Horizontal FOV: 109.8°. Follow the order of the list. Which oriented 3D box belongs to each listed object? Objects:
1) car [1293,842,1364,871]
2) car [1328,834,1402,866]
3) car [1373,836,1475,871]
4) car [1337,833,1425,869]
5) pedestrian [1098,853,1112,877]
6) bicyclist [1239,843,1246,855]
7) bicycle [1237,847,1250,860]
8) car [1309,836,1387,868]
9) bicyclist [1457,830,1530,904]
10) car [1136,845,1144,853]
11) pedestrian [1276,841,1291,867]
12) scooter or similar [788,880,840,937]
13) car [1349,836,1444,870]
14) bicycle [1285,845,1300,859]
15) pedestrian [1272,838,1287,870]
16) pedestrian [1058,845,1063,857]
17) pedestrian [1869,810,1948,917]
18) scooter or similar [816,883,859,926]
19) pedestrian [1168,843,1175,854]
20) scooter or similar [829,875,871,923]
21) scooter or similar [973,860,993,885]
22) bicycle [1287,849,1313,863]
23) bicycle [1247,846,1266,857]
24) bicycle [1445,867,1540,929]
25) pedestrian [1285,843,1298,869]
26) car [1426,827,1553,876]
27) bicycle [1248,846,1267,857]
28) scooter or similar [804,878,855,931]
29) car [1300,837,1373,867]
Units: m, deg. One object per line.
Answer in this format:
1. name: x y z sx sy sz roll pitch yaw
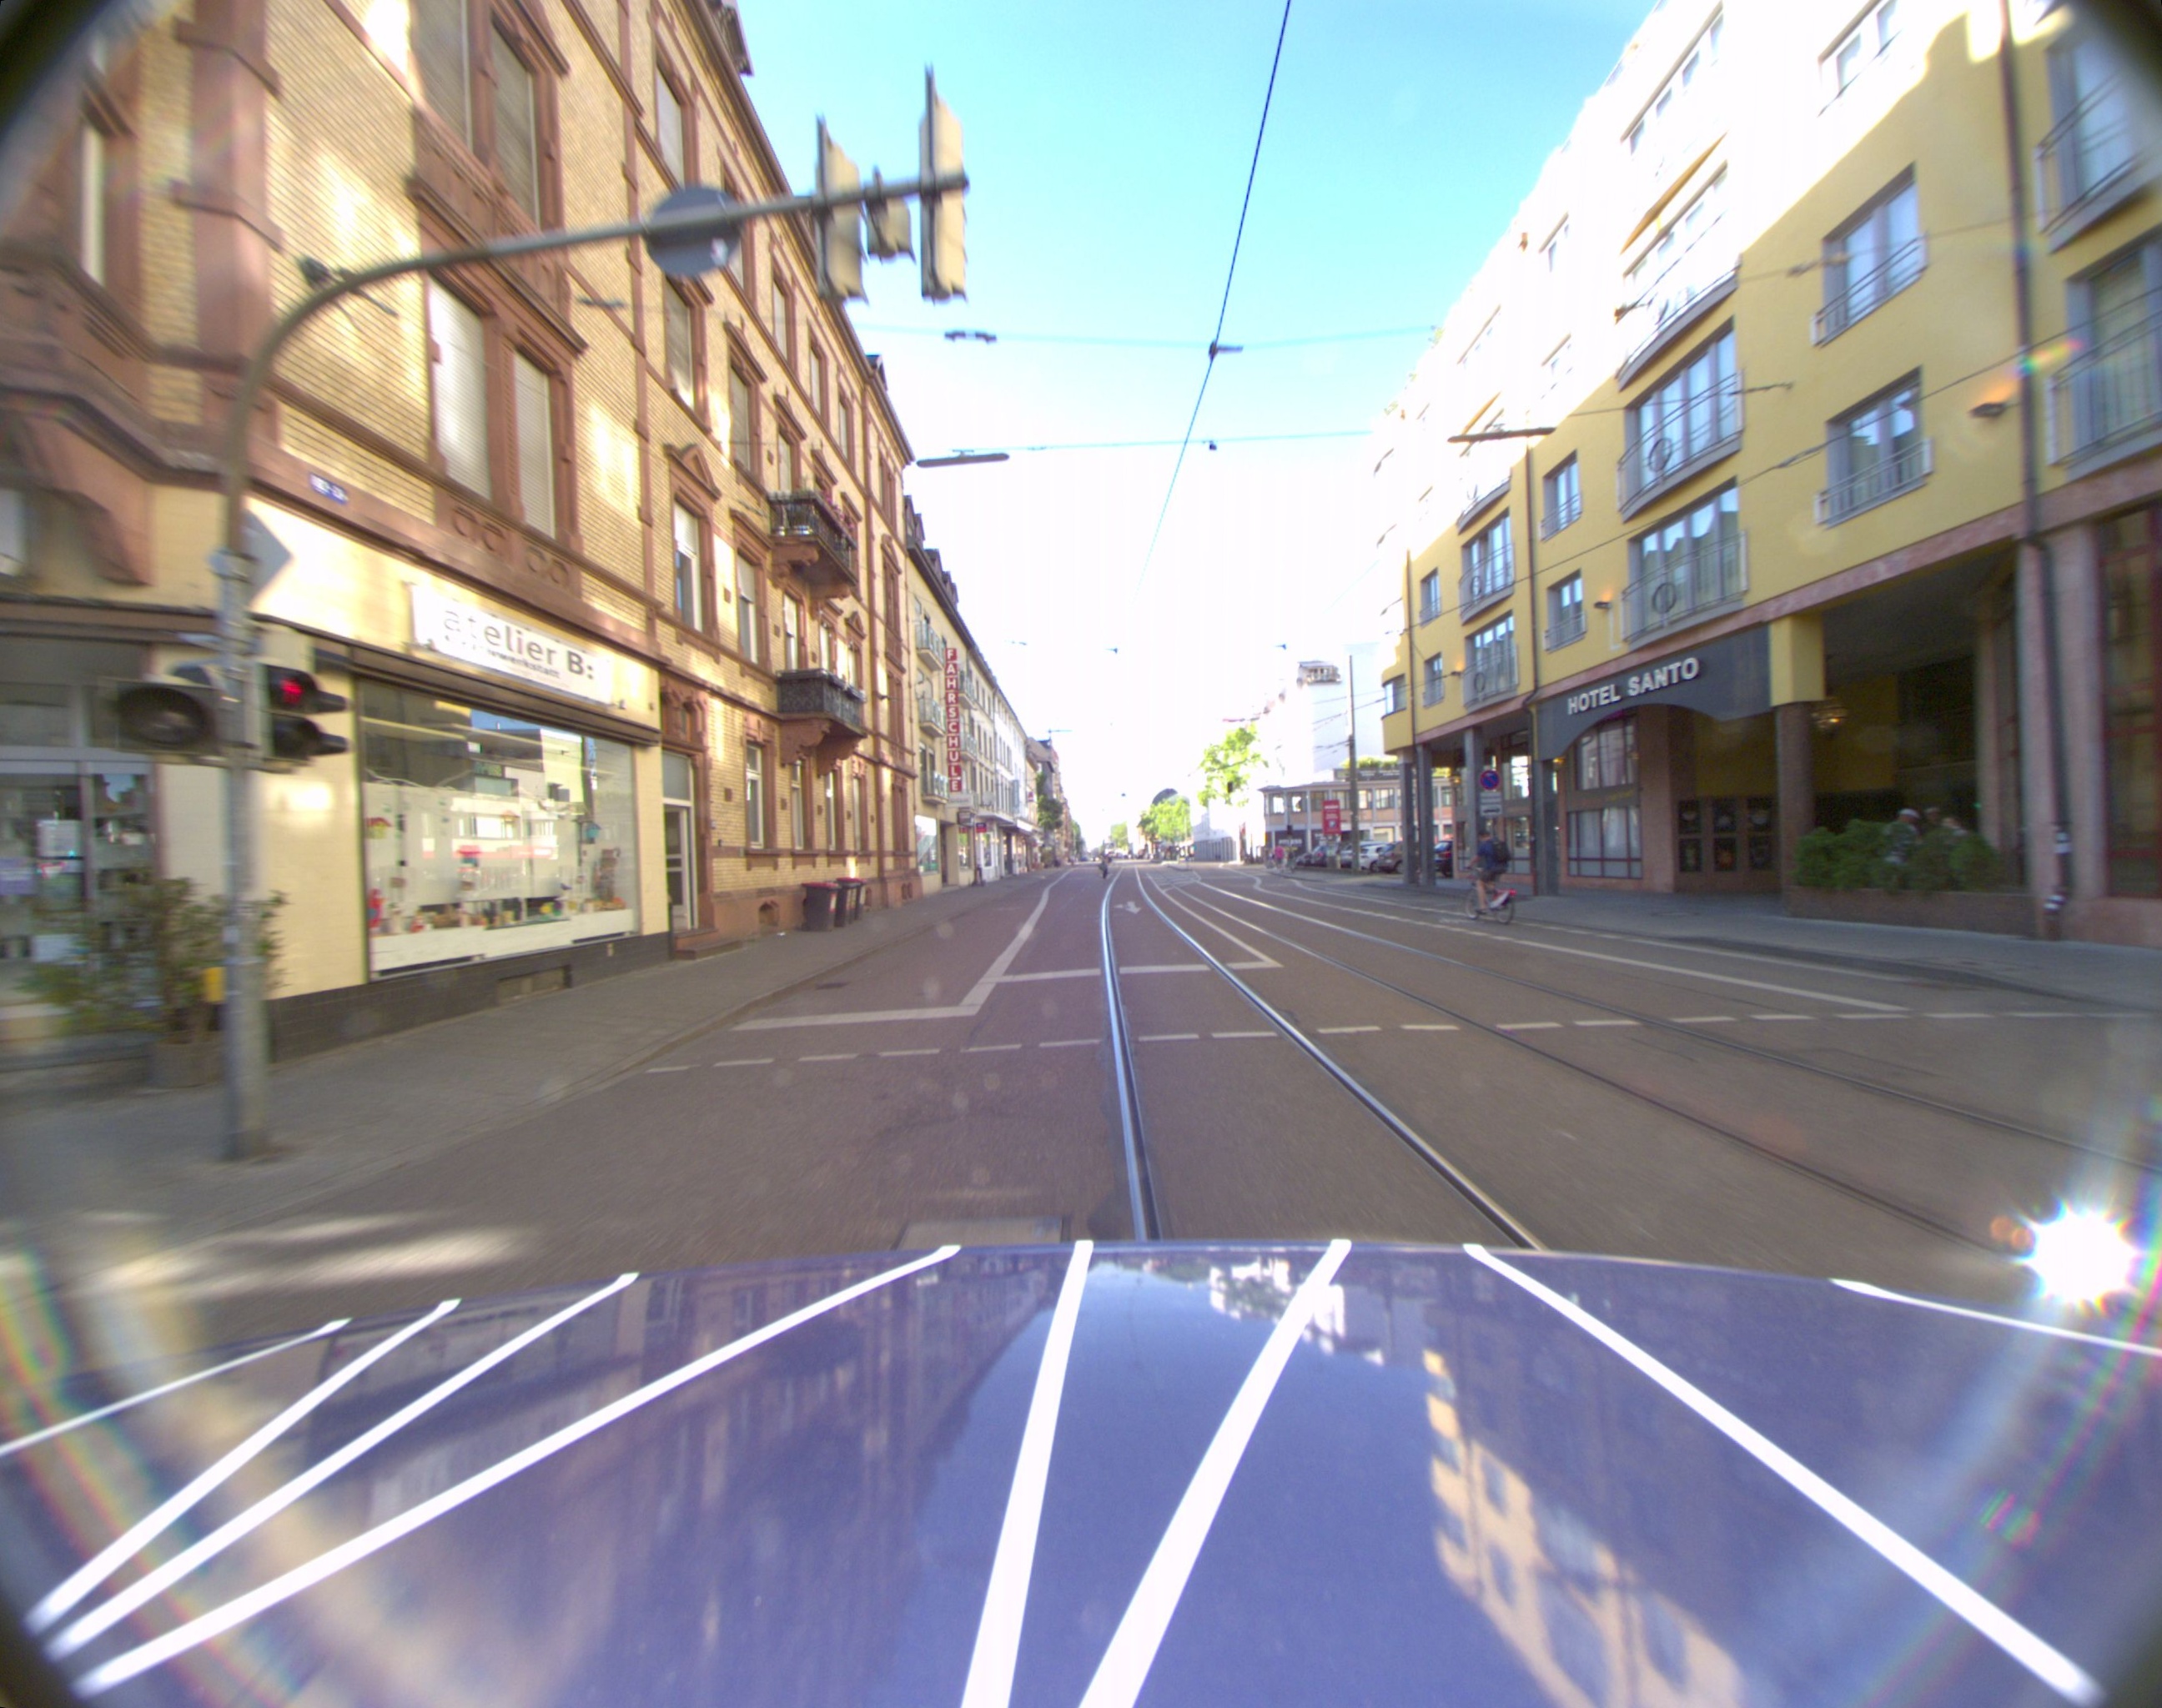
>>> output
1. car: 17.221 0.181 53.012 4.244 1.753 1.785 -4 1 1
2. car: 16.932 -0.231 45.382 3.698 1.663 1.785 -3 1 1
3. car: 16.925 -0.035 37.647 4.244 1.540 1.784 -2 3 1
4. car: 16.769 -0.187 42.647 4.244 1.802 1.784 -2 3 1
5. pedestrian: 1.533 0.700 48.550 0.781 1.551 0.650 -2 1 1
6. bicyclist: 19.925 -0.638 93.767 0.562 1.356 0.719 2 13 34
7. bicycle: 20.077 -0.055 93.768 0.564 1.117 2.004 -18 2 36
8. car: 16.740 -0.123 47.814 4.243 1.801 1.785 -2 1 2
9. bicyclist: 8.139 0.250 15.038 0.726 1.373 1.227 -3 1 -1
10. car: 17.033 -1.338 218.814 1.884 2.001 4.000 -4 -1 0
11. pedestrian: 13.957 0.004 52.346 0.715 1.754 0.779 -2 1 -7
12. scooter or similar: -5.772 1.167 16.451 0.899 1.142 0.547 3 1 -1
13. car: 16.620 -0.033 40.197 4.243 1.600 1.785 -2 1 1
14. bicycle: 16.859 -0.157 60.570 0.464 1.073 1.878 -2 0 -6
15. pedestrian: 12.613 -0.003 48.307 0.639 1.935 0.709 -3 1 0
16. pedestrian: -2.960 -0.440 108.216 0.695 1.680 0.688 1 2 1
17. pedestrian: 14.187 0.161 13.043 0.562 1.760 0.723 -2 1 5
18. scooter or similar: -5.784 1.201 18.084 0.792 0.952 0.680 2 1 -1
19. pedestrian: 13.405 -0.786 112.668 0.794 1.635 0.747 -4 1 2
20. scooter or similar: -5.859 1.126 19.308 0.792 1.142 0.790 2 1 -1
21. scooter or similar: -5.166 0.968 40.230 0.410 1.274 1.286 7 1 17
22. bicycle: 16.910 0.137 58.646 1.875 1.030 0.426 -2 1 26
23. bicycle: 18.346 -0.286 79.491 1.876 1.071 0.465 -2 1 9
24. bicycle: 8.153 0.840 15.177 0.732 1.082 2.061 -2 0 0
25. pedestrian: 13.364 0.108 48.237 0.573 1.608 0.499 -2 1 0
26. car: 16.956 -0.101 31.678 4.243 1.801 1.785 -2 1 1
27. bicycle: 18.338 -0.283 78.989 1.876 1.071 0.465 -2 1 9
28. scooter or similar: -5.742 1.154 17.367 0.935 1.142 0.650 2 1 -1
29. car: 16.971 -0.136 50.619 4.244 1.801 1.785 -2 1 1
